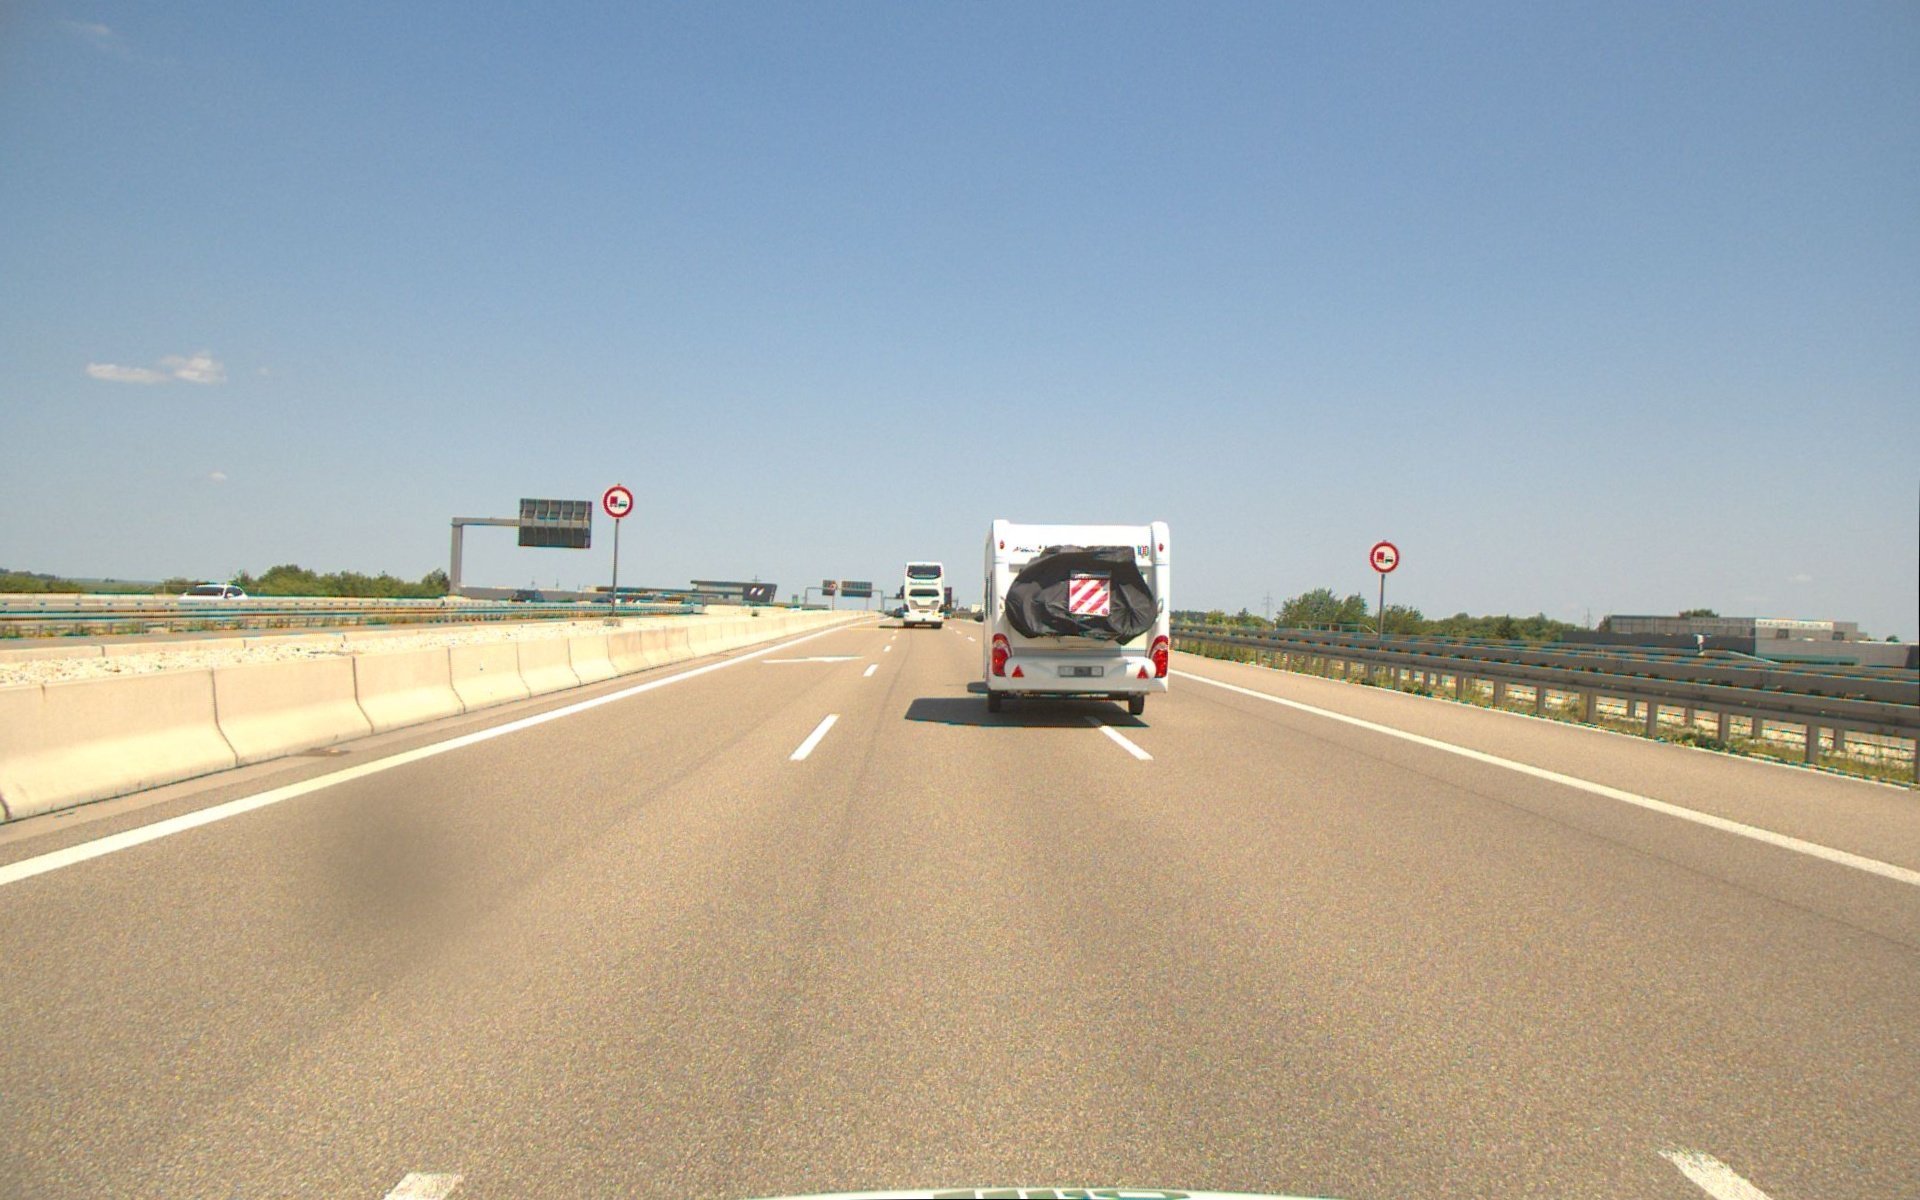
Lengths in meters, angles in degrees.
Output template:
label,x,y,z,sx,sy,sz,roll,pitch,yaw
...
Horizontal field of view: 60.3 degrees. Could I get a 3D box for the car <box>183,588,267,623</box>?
label,x,y,z,sx,sy,sz,roll,pitch,yaw
car,-30.293,0.222,68.286,1.532,1.403,4.361,1,0,-1

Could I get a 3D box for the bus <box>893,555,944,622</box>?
label,x,y,z,sx,sy,sz,roll,pitch,yaw
bus,-2.713,-0.692,105.895,2.921,4.044,9.098,1,0,-3

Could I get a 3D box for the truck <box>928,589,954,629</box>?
label,x,y,z,sx,sy,sz,roll,pitch,yaw
truck,-2.538,1.212,219.084,3.311,4.543,13.561,2,-3,-1

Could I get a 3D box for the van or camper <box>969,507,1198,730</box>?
label,x,y,z,sx,sy,sz,roll,pitch,yaw
van or camper,1.511,0.231,23.794,2.461,2.638,7.814,1,0,-2

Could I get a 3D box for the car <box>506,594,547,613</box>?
label,x,y,z,sx,sy,sz,roll,pitch,yaw
car,-33.214,0.301,126.844,1.952,1.403,4.362,1,0,0
